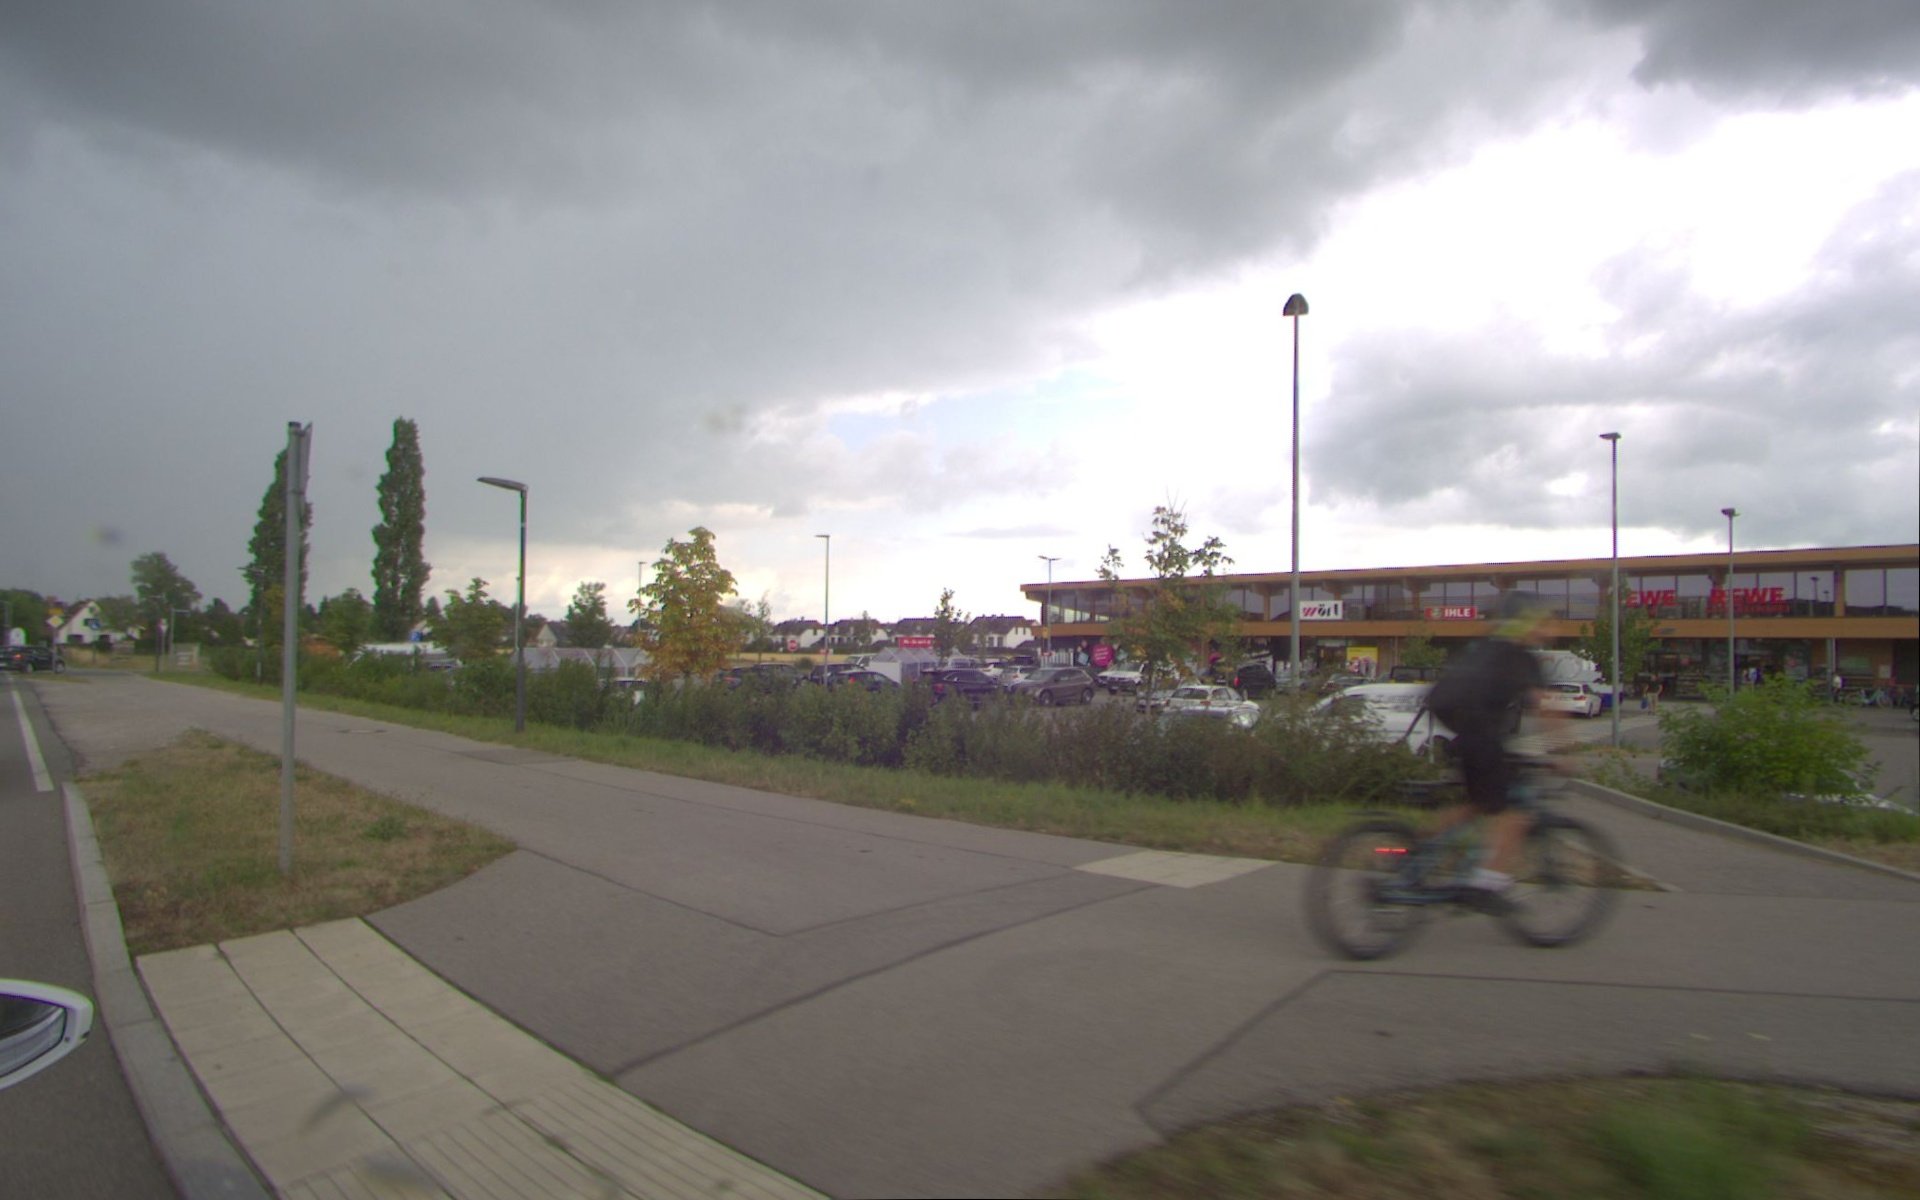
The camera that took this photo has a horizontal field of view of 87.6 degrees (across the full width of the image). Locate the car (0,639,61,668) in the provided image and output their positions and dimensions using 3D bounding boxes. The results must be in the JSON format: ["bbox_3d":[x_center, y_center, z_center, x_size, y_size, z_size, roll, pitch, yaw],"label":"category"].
[{"bbox_3d":[-46.443,2.678,49.881,1.421,1.389,3.501,2,-4,-25],"label":"car"}]

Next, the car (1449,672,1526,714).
[{"bbox_3d":[22.767,3.973,43.176,1.834,1.745,4.085,-4,-5,44],"label":"car"}]

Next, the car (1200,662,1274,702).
[{"bbox_3d":[14.390,4.254,51.926,3.966,1.859,1.981,7,-6,-44],"label":"car"}]

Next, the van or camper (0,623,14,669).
[{"bbox_3d":[-73.240,3.497,75.447,2.609,3.364,6.756,3,-5,-44],"label":"van or camper"}]

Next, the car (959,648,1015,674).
[{"bbox_3d":[2.000,4.480,73.302,3.958,1.863,1.859,3,-3,-41],"label":"car"}]

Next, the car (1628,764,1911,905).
[{"bbox_3d":[11.711,3.331,14.832,1.550,1.389,3.735,1,-4,8],"label":"car"}]

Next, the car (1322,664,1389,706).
[{"bbox_3d":[18.922,4.000,47.812,1.752,1.877,3.970,-1,-3,41],"label":"car"}]

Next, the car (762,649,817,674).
[{"bbox_3d":[-13.966,5.053,82.316,3.960,1.859,1.983,6,-6,-40],"label":"car"}]

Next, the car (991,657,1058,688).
[{"bbox_3d":[4.013,4.523,62.345,3.960,1.860,1.983,4,-4,-42],"label":"car"}]

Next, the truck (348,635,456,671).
[{"bbox_3d":[-30.575,2.928,54.966,1.978,1.895,4.776,-2,-4,41],"label":"truck"}]

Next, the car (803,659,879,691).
[{"bbox_3d":[-6.554,4.135,55.397,3.964,1.726,1.699,4,-5,-45],"label":"car"}]

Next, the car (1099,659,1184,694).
[{"bbox_3d":[10.086,4.241,55.465,5.256,1.853,1.981,4,-5,-44],"label":"car"}]

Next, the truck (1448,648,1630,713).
[{"bbox_3d":[27.752,3.758,48.199,7.176,2.842,2.954,-2,-3,41],"label":"truck"}]

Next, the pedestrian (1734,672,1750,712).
[{"bbox_3d":[39.421,4.615,50.477,0.520,1.973,0.573,-1,-3,45],"label":"pedestrian"}]

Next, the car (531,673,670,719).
[{"bbox_3d":[-12.661,3.339,35.441,4.207,1.458,1.981,3,-4,-44],"label":"car"}]

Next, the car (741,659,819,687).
[{"bbox_3d":[-10.684,4.337,59.614,4.284,1.597,1.751,3,-4,-43],"label":"car"}]

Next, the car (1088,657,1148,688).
[{"bbox_3d":[10.194,4.688,64.327,1.779,1.917,4.080,-2,-5,44],"label":"car"}]

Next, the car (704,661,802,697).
[{"bbox_3d":[-10.516,3.994,51.048,4.530,1.685,1.981,3,-4,-44],"label":"car"}]

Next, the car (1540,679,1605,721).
[{"bbox_3d":[25.200,4.065,41.157,1.711,1.549,3.971,-1,-3,40],"label":"car"}]

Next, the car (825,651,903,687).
[{"bbox_3d":[-5.903,4.234,62.191,1.973,2.039,5.096,0,-2,35],"label":"car"}]

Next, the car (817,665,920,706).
[{"bbox_3d":[-4.081,3.805,45.216,4.377,1.685,1.981,3,-4,-44],"label":"car"}]

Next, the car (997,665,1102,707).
[{"bbox_3d":[4.053,3.784,44.624,4.945,1.685,1.980,3,-4,-45],"label":"car"}]

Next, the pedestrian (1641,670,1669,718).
[{"bbox_3d":[30.484,4.104,43.910,0.921,2.039,0.800,-1,-2,40],"label":"pedestrian"}]

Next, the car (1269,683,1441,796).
[{"bbox_3d":[5.122,1.770,13.409,1.549,1.221,3.758,1,-5,13],"label":"car"}]

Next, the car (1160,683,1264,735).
[{"bbox_3d":[8.211,3.475,32.392,1.664,1.503,3.967,-2,-4,41],"label":"car"}]

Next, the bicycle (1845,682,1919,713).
[{"bbox_3d":[43.532,4.551,47.061,2.841,1.325,0.971,-2,-4,45],"label":"bicycle"}]

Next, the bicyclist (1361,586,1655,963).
[{"bbox_3d":[2.350,0.692,4.360,0.853,1.465,0.724,0,-1,-14],"label":"bicyclist"}]

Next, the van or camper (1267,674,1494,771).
[{"bbox_3d":[9.974,2.920,23.904,4.737,2.122,1.759,-4,-7,30],"label":"van or camper"}]

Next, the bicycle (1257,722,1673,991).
[{"bbox_3d":[2.184,1.055,4.350,1.682,0.958,0.497,0,-1,-13],"label":"bicycle"}]

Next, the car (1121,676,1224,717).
[{"bbox_3d":[8.789,3.910,41.212,1.885,1.503,4.746,-2,-4,45],"label":"car"}]

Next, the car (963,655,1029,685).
[{"bbox_3d":[2.339,4.473,64.310,3.958,1.860,1.983,3,-3,-41],"label":"car"}]

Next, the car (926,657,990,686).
[{"bbox_3d":[-0.124,4.701,66.167,3.959,1.860,1.983,3,-4,-41],"label":"car"}]

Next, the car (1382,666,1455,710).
[{"bbox_3d":[20.977,3.991,45.785,3.964,1.877,1.755,4,-4,-45],"label":"car"}]

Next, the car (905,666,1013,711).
[{"bbox_3d":[-0.004,3.569,40.710,4.426,1.726,1.786,5,-5,-45],"label":"car"}]

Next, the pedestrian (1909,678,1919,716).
[{"bbox_3d":[42.646,4.306,44.396,0.796,1.678,0.744,-1,-3,43],"label":"pedestrian"}]

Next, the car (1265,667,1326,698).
[{"bbox_3d":[18.675,4.574,55.658,1.748,1.632,4.193,-2,-4,42],"label":"car"}]

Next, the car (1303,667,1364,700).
[{"bbox_3d":[20.233,4.501,54.171,1.749,1.674,3.863,-2,-4,43],"label":"car"}]
